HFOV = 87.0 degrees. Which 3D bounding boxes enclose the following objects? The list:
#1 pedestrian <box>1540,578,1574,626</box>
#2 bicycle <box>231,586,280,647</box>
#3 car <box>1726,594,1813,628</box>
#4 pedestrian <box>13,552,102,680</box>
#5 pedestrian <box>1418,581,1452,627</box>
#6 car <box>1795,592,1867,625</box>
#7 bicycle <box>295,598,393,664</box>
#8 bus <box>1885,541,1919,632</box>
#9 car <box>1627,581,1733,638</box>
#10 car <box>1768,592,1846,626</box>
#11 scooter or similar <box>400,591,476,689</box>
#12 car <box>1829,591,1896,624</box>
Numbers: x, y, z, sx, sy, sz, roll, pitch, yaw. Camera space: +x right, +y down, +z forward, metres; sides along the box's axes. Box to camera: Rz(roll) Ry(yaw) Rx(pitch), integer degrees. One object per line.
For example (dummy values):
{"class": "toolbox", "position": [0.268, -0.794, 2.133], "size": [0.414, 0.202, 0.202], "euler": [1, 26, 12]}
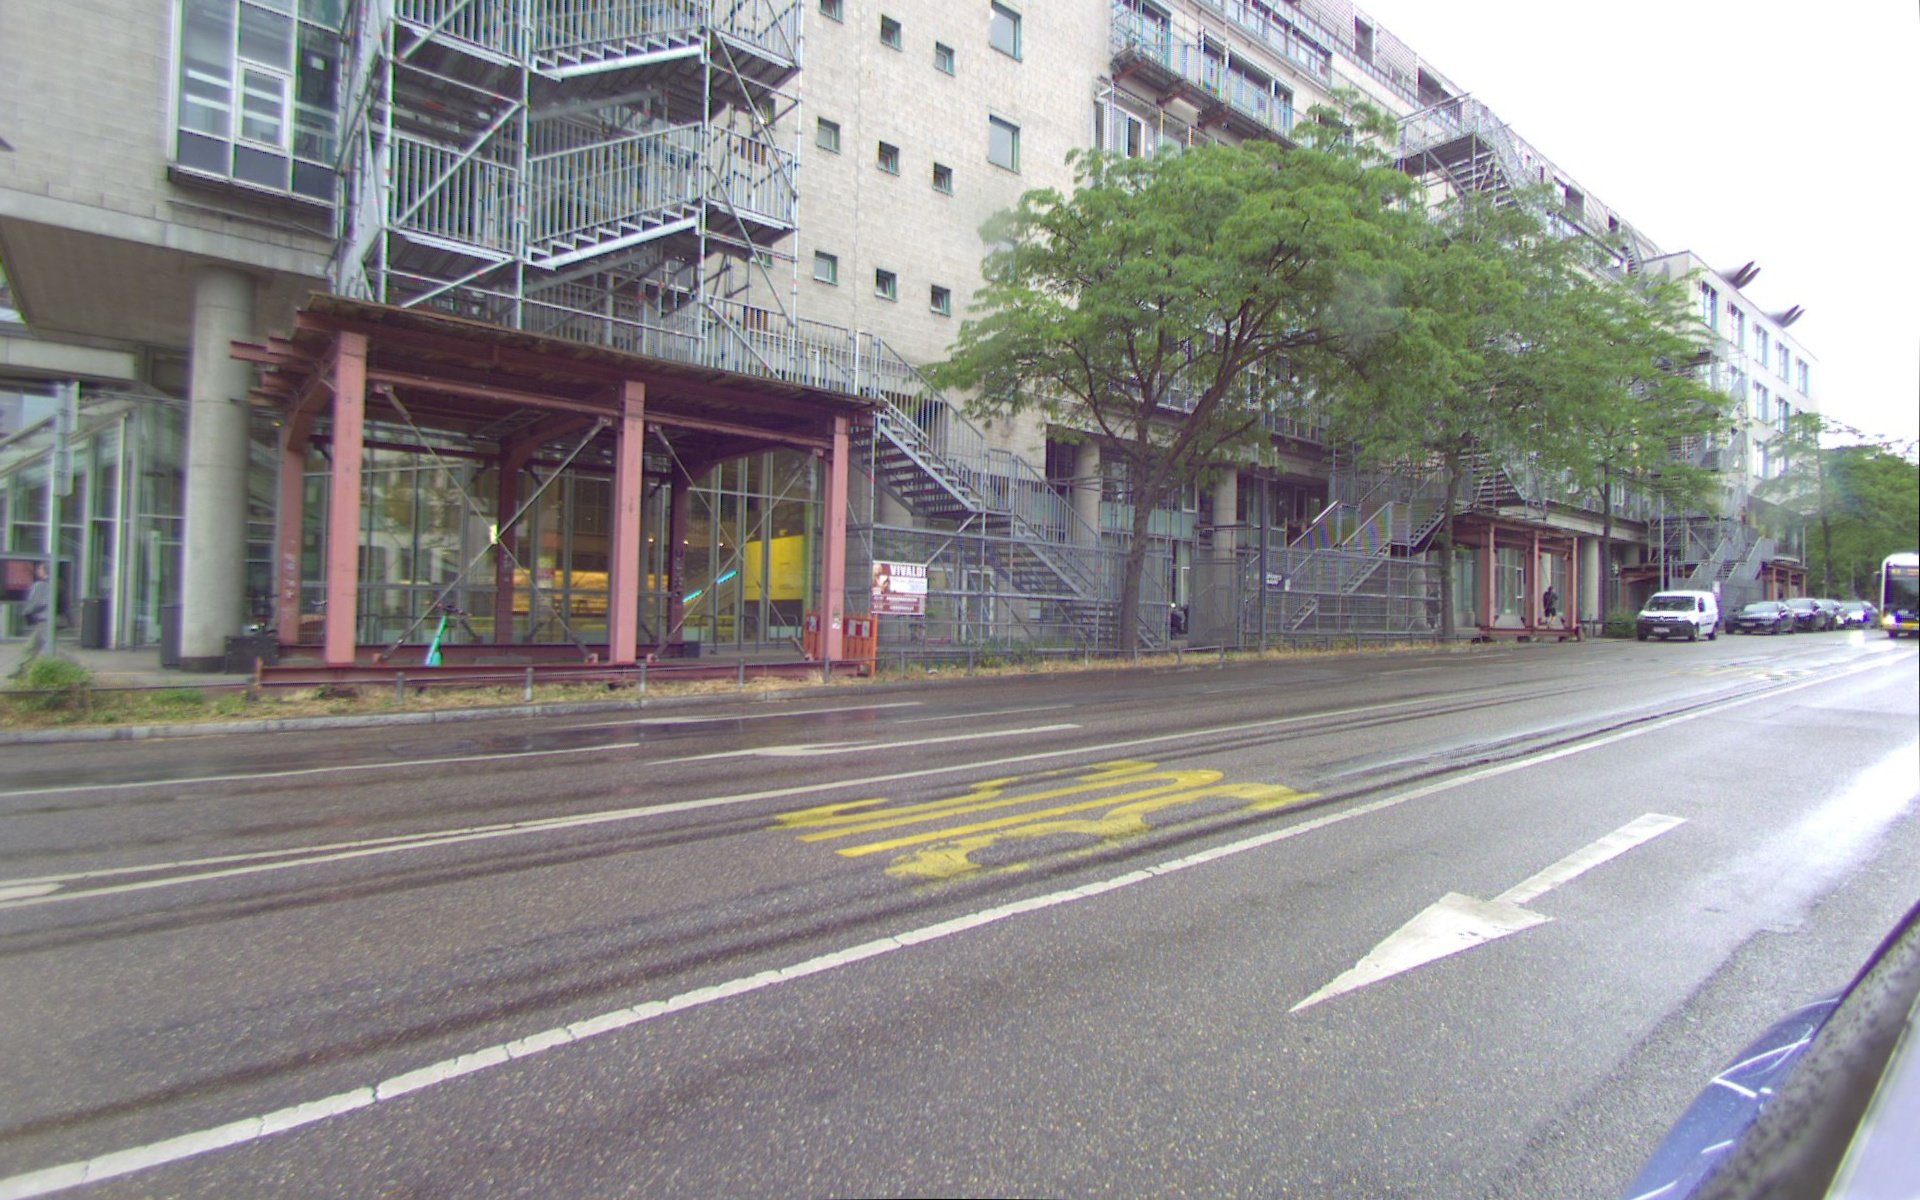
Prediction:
{"class": "pedestrian", "position": [26.105, 0.071, 44.256], "size": [1.021, 2.039, 1.009], "euler": [0, 0, -41]}
{"class": "bicycle", "position": [-14.430, 0.316, 20.719], "size": [0.577, 1.209, 1.611], "euler": [0, 0, -44]}
{"class": "car", "position": [35.095, 0.433, 43.818], "size": [4.733, 1.353, 2.145], "euler": [-1, 1, -41]}
{"class": "pedestrian", "position": [-13.210, 0.219, 14.813], "size": [0.774, 1.798, 0.783], "euler": [0, 0, 31]}
{"class": "pedestrian", "position": [19.169, 0.149, 40.828], "size": [0.831, 1.822, 1.008], "euler": [0, 0, -42]}
{"class": "car", "position": [44.362, 0.372, 51.530], "size": [4.733, 1.580, 2.145], "euler": [-1, 1, -41]}
{"class": "bicycle", "position": [-11.983, 0.578, 19.737], "size": [0.580, 1.209, 1.602], "euler": [0, 0, 24]}
{"class": "bus", "position": [40.836, -0.560, 41.719], "size": [9.586, 3.494, 2.888], "euler": [-1, 0, -41]}
{"class": "car", "position": [26.070, 0.295, 36.590], "size": [4.254, 1.930, 2.211], "euler": [-1, 0, -41]}
{"class": "car", "position": [40.251, 0.400, 48.068], "size": [4.733, 1.513, 2.145], "euler": [-1, 1, -41]}
{"class": "scooter or similar", "position": [-6.935, 0.491, 13.414], "size": [0.576, 1.209, 1.782], "euler": [1, 0, -38]}
{"class": "car", "position": [48.935, 0.361, 54.855], "size": [4.733, 1.667, 2.145], "euler": [-1, 0, -41]}
